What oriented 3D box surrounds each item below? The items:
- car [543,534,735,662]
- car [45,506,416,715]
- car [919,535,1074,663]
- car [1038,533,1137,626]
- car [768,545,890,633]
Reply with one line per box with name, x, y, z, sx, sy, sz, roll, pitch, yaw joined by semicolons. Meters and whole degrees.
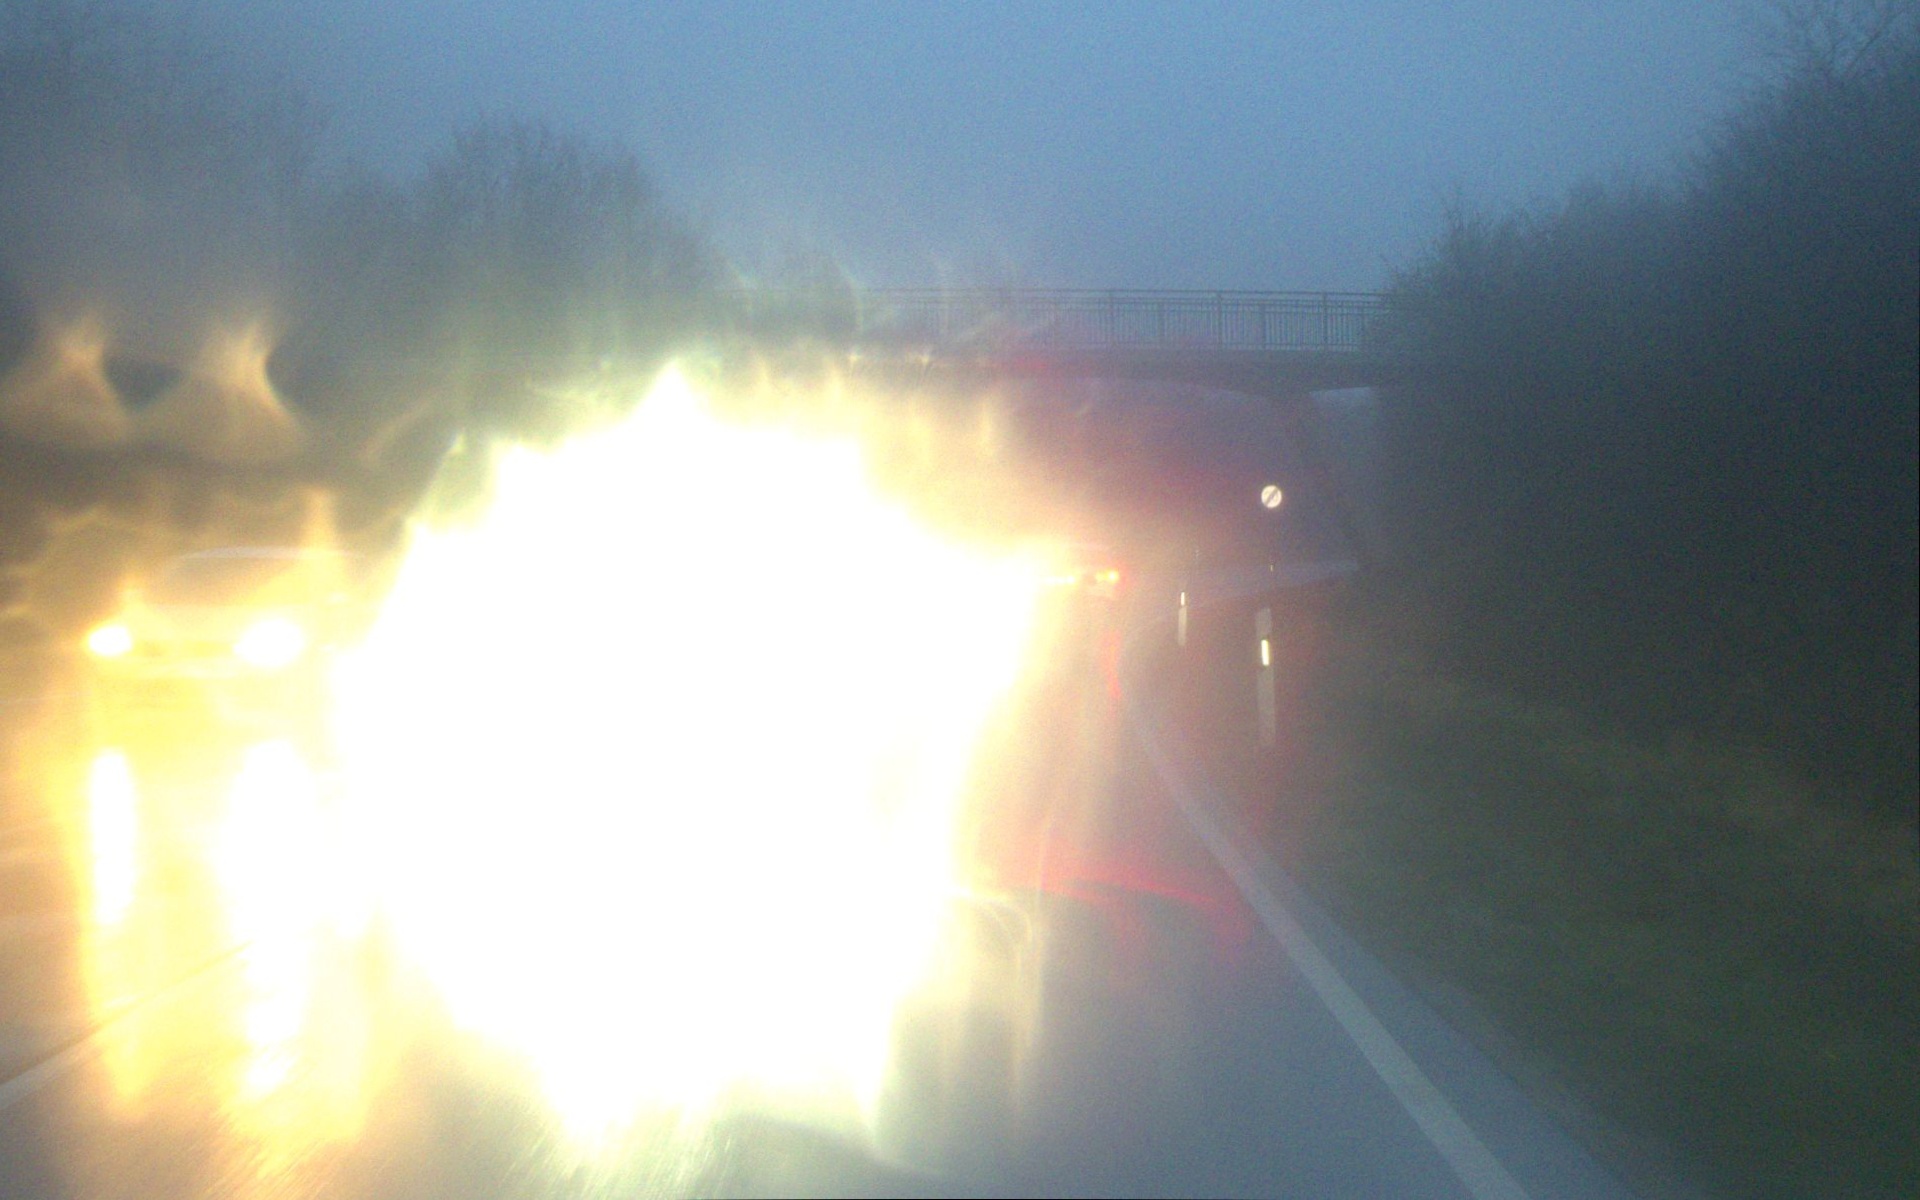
car;-4.355;-0.069;47.293;1.902;1.642;4.727;0;1;4
car;-5.941;0.022;28.515;1.824;1.518;4.298;-1;2;5
car;0.472;-0.052;40.262;1.679;1.385;4.098;-1;1;2
car;2.426;-0.416;64.682;1.679;1.669;4.098;-1;1;4
car;-2.498;-0.214;66.589;1.860;1.641;4.467;0;0;4
